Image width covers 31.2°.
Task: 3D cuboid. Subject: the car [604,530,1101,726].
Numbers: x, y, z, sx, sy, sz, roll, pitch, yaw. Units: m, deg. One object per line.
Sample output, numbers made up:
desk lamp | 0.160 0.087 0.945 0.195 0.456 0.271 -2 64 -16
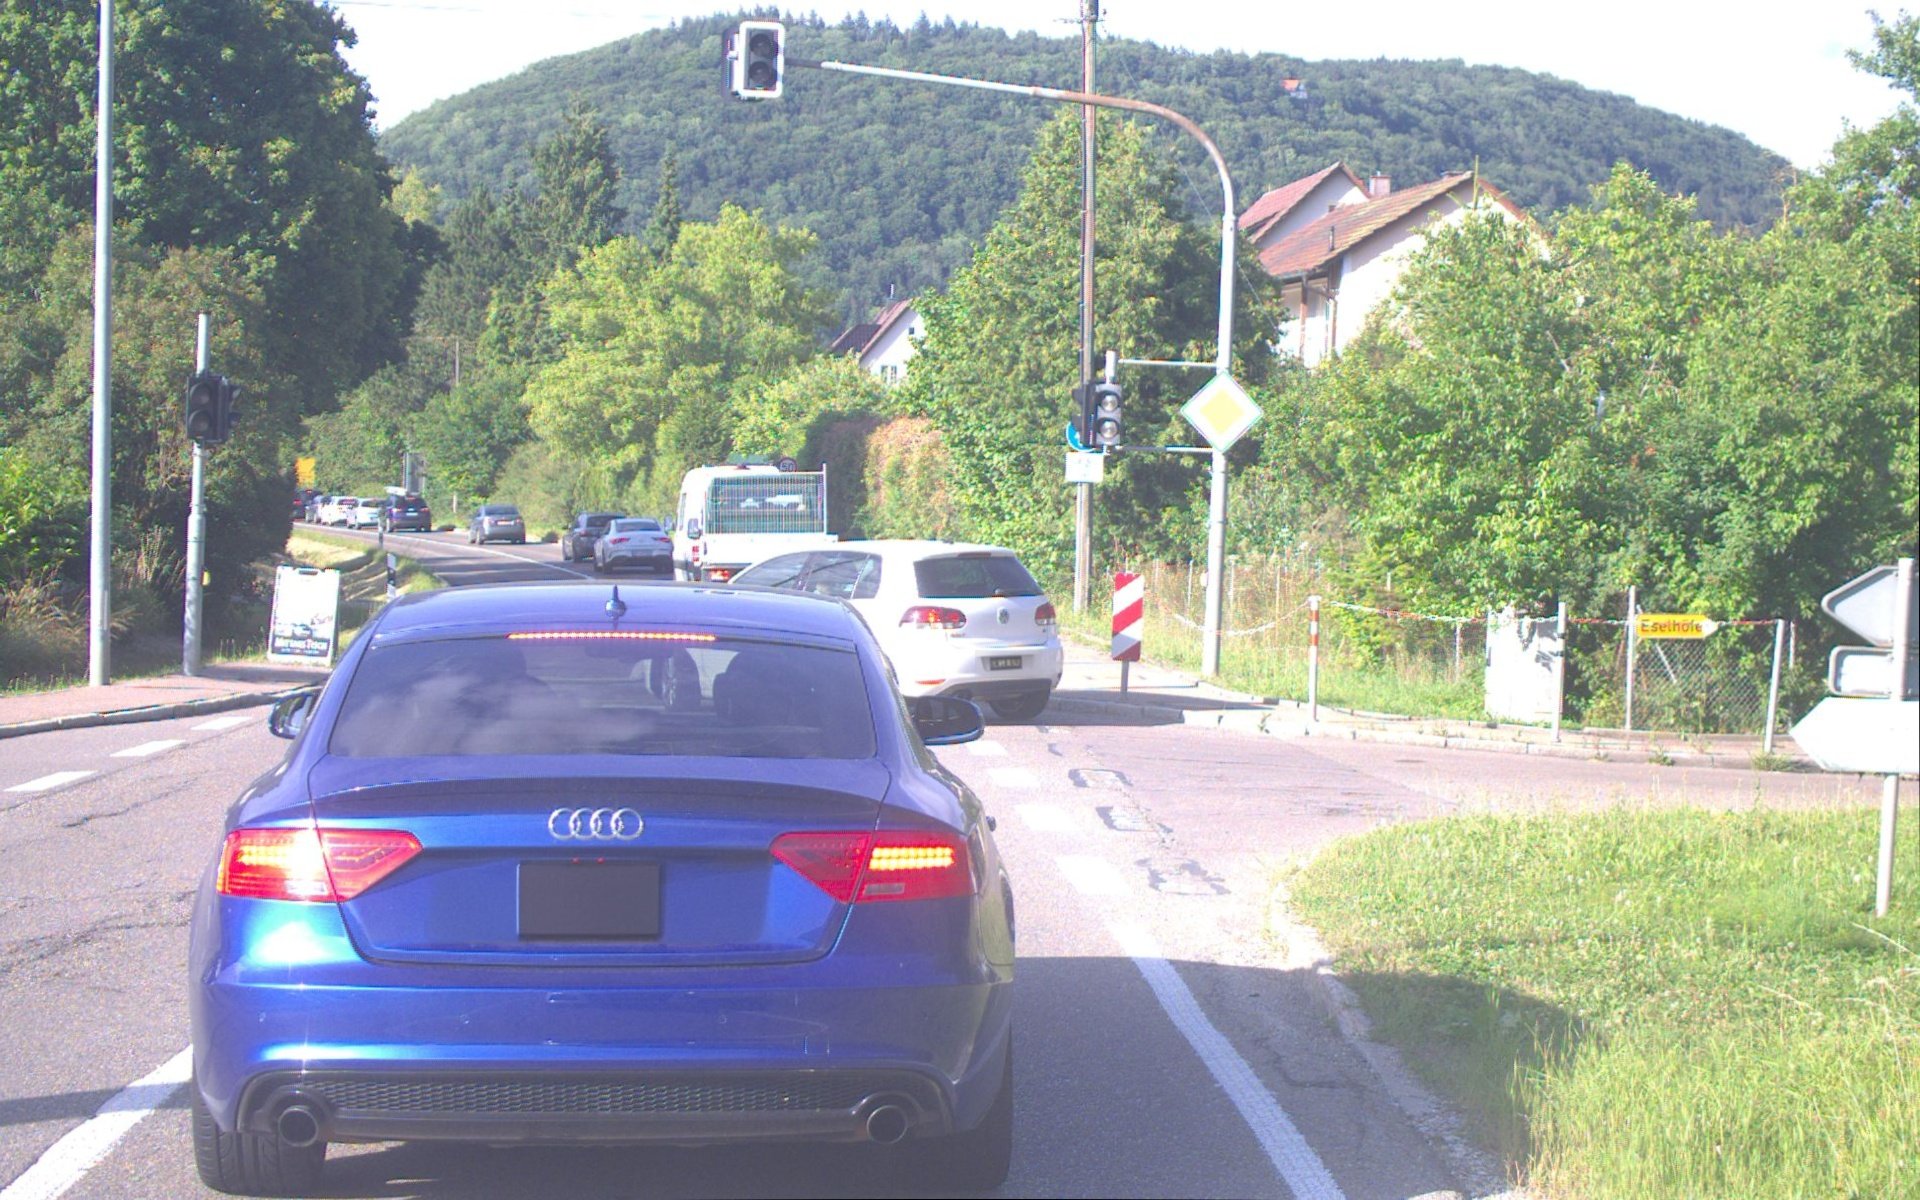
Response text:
car | -0.966 0.197 28.743 1.772 1.410 4.172 1 2 -44

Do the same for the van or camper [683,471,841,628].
van or camper | -3.214 -0.843 54.814 2.179 2.377 5.371 0 2 -7

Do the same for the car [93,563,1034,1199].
car | -0.866 0.641 8.869 1.829 1.404 4.227 -1 1 -3

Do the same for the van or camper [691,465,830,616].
van or camper | -4.083 -1.229 69.287 2.414 2.894 6.133 0 2 -7

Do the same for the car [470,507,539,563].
car | -16.672 -2.404 125.718 1.993 2.007 4.001 0 1 -15

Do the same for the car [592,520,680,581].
car | -8.461 -1.314 89.481 1.819 1.546 4.001 0 1 -12

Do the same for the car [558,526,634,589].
car | -10.699 -1.279 100.898 1.796 1.787 4.001 0 2 -12

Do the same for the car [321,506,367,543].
car | -30.038 -3.670 167.603 1.748 1.776 4.001 -1 2 -16

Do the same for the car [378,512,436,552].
car | -24.228 -2.998 150.519 2.040 1.678 4.002 0 2 -16

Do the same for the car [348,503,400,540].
car | -27.124 -3.629 159.021 1.941 1.678 4.001 -1 1 -16
